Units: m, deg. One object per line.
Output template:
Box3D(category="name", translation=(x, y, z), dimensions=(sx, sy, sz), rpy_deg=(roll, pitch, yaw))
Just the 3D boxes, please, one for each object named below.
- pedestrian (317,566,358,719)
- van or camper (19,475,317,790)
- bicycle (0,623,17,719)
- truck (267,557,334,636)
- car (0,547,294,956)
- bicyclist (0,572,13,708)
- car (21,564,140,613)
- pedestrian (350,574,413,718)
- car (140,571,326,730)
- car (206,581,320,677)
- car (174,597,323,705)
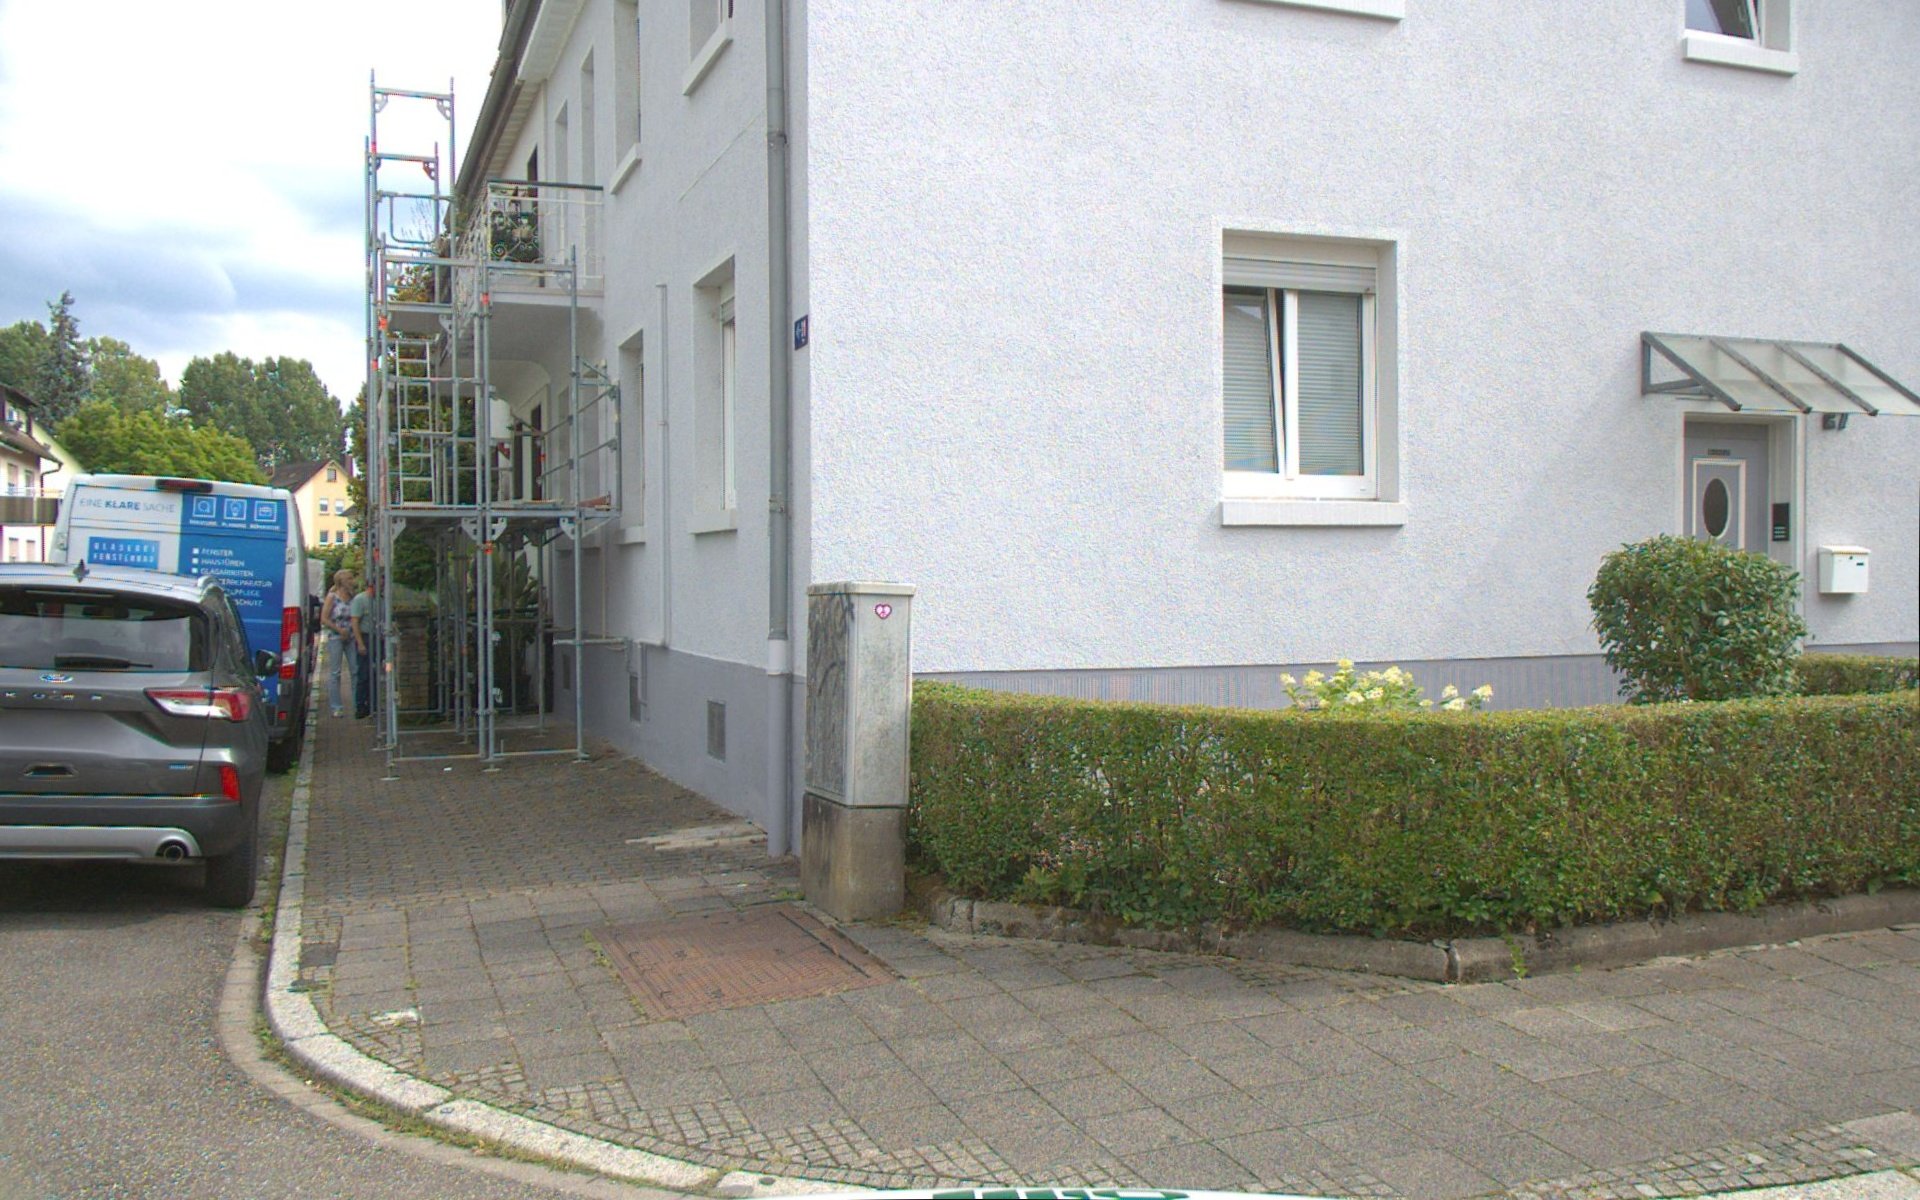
Box3D(category="pedestrian", translation=(-7.428, 0.502, 19.740), dimensions=(0.402, 1.793, 0.509), rpy_deg=(-1, -1, -24))
Box3D(category="van or camper", translation=(-7.360, 0.217, 15.886), dimensions=(2.161, 2.502, 5.022), rpy_deg=(-1, 1, -21))
Box3D(category="bicycle", translation=(-12.294, 0.901, 20.549), dimensions=(0.695, 1.172, 1.861), rpy_deg=(-2, 1, -21))
Box3D(category="truck", translation=(-23.619, -0.151, 59.149), dimensions=(2.101, 2.703, 4.552), rpy_deg=(-1, 1, -23))
Box3D(category="car", translation=(-4.827, 0.636, 9.197), dimensions=(1.967, 1.757, 4.310), rpy_deg=(-1, 1, -23))
Box3D(category="bicyclist", translation=(-12.348, 0.505, 20.668), dimensions=(0.686, 1.695, 0.969), rpy_deg=(-2, 1, -21))
Box3D(category="car", translation=(-34.034, -0.455, 64.125), dimensions=(3.938, 1.803, 1.854), rpy_deg=(-1, -1, -26))
Box3D(category="pedestrian", translation=(-6.849, 0.536, 19.601), dimensions=(0.590, 1.658, 0.624), rpy_deg=(-1, -1, -10))
Box3D(category="car", translation=(-9.363, 0.551, 21.406), dimensions=(1.967, 1.803, 4.310), rpy_deg=(-1, 1, -23))
Box3D(category="car", translation=(-14.043, 0.519, 33.313), dimensions=(1.967, 1.780, 4.310), rpy_deg=(-1, 1, -23))
Box3D(category="car", translation=(-11.199, 0.729, 26.087), dimensions=(1.967, 1.481, 4.310), rpy_deg=(-1, 1, -23))
